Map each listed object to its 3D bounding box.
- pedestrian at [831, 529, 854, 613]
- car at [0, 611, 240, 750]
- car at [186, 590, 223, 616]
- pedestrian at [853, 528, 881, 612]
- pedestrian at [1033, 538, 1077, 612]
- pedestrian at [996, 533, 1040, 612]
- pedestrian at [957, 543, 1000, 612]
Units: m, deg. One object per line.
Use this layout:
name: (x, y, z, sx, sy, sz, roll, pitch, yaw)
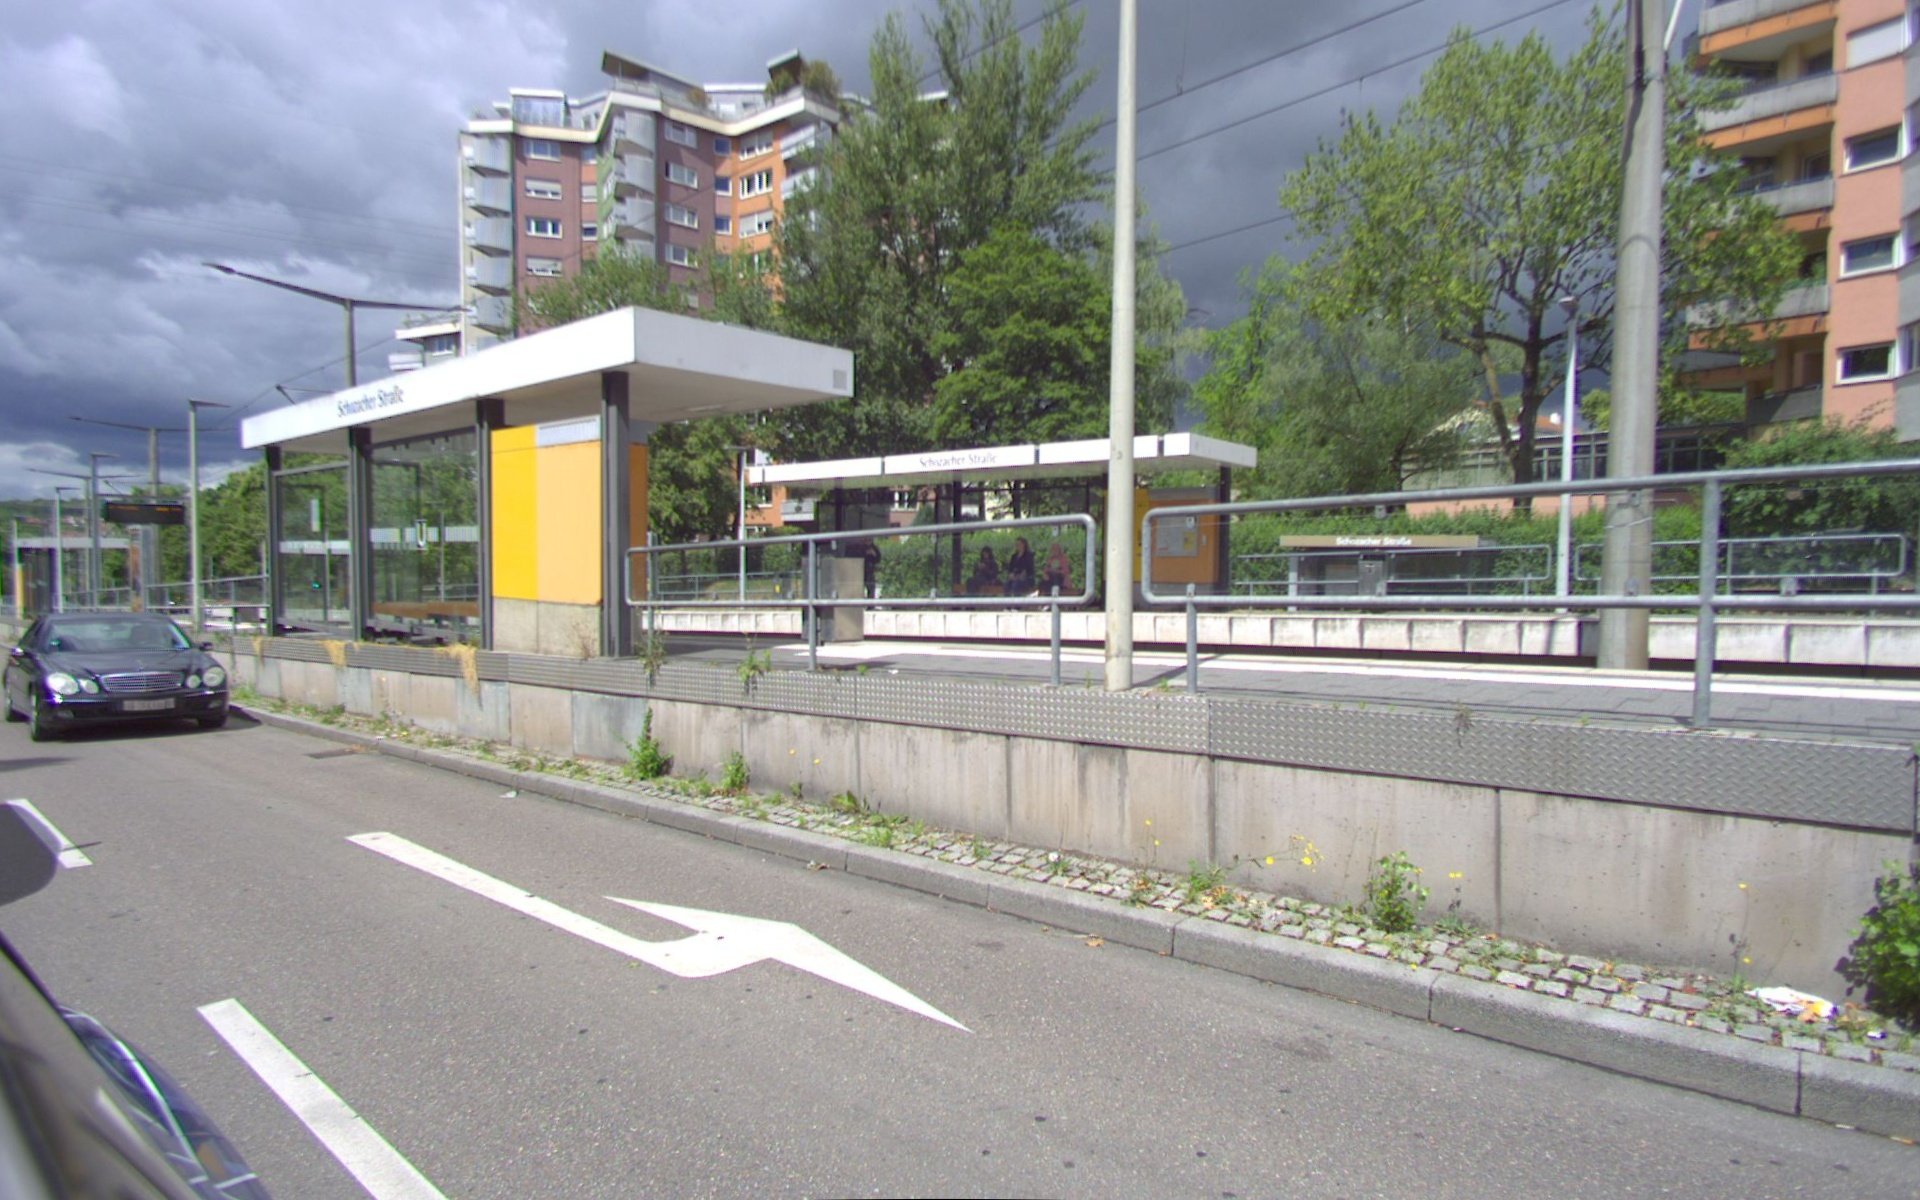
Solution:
pedestrian: (-2.436, -0.605, 21.022, 0.421, 1.726, 0.353, 0, 0, -1)
car: (-10.542, 0.856, 12.589, 4.065, 1.395, 1.797, 0, 0, 43)
car: (-61.644, 0.255, 82.574, 4.000, 2.029, 1.714, 0, 0, 43)
pedestrian: (-1.943, -0.622, 21.125, 0.544, 1.726, 0.386, 0, 0, -1)
pedestrian: (1.691, -0.430, 18.024, 0.463, 1.287, 0.704, 0, 0, 40)
pedestrian: (1.069, -0.497, 18.579, 0.463, 1.428, 0.704, 0, 0, 40)
pedestrian: (0.356, -0.424, 19.382, 0.463, 1.287, 0.704, 0, 0, 40)
